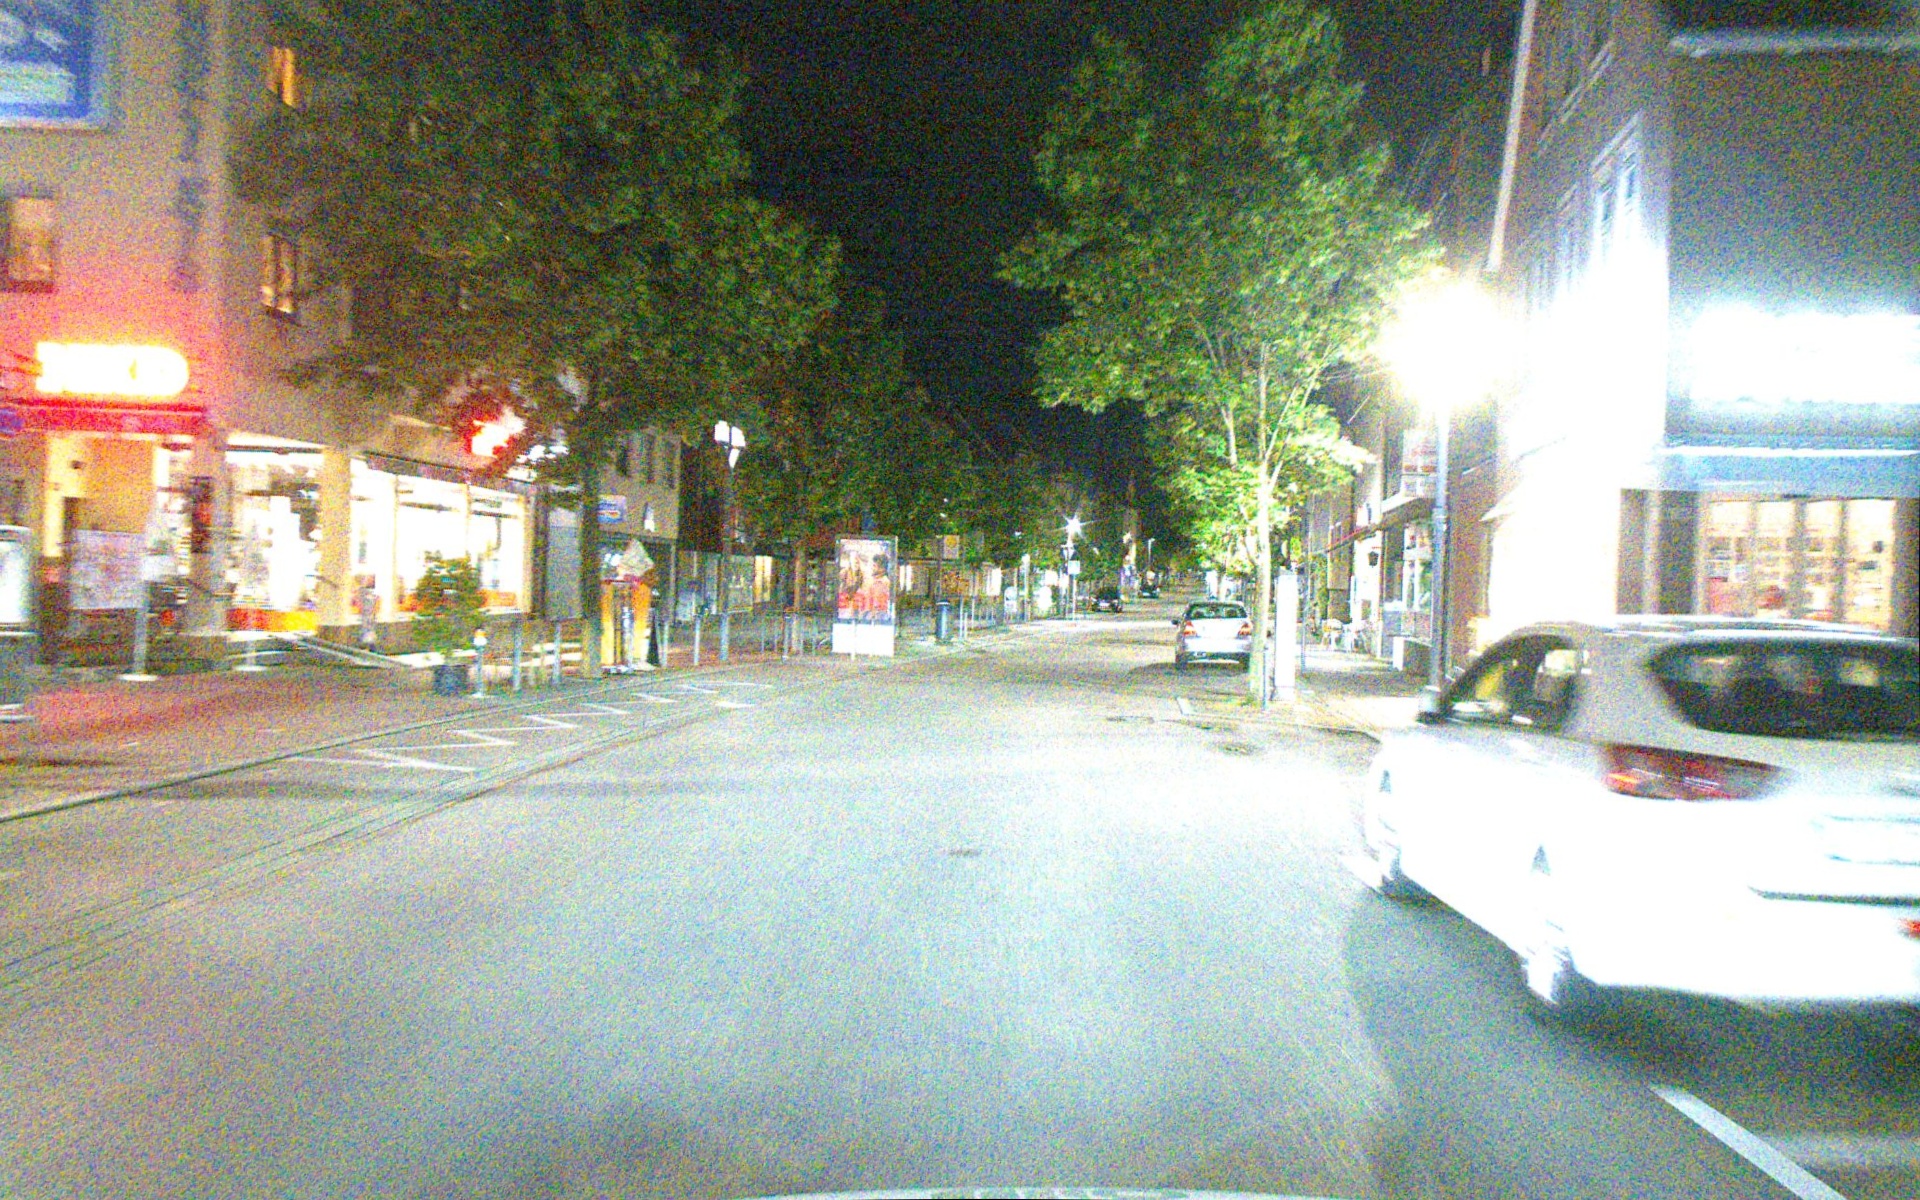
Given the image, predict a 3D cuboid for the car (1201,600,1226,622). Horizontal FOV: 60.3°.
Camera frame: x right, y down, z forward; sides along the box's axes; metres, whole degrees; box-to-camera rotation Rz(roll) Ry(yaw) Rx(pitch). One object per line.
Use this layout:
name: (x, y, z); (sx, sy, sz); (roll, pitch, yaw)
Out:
car: (18.175, 0.746, 118.709); (1.639, 1.485, 3.679); (1, 1, 8)

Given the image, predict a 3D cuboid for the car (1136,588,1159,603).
car: (19.051, -0.489, 167.872); (1.873, 1.394, 4.461); (1, 1, 11)

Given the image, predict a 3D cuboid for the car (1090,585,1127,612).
car: (10.297, -0.113, 114.402); (1.975, 1.720, 5.007); (3, 1, 10)

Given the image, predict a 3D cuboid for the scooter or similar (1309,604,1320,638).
scooter or similar: (13.909, 0.822, 64.852); (0.365, 1.299, 1.306); (1, -1, 10)

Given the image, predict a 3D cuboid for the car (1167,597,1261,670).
car: (5.577, 0.692, 36.754); (1.698, 1.466, 4.499); (1, 1, 4)

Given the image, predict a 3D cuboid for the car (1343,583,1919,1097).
car: (3.023, 0.753, 7.254); (1.706, 1.513, 4.637); (1, -1, 2)
